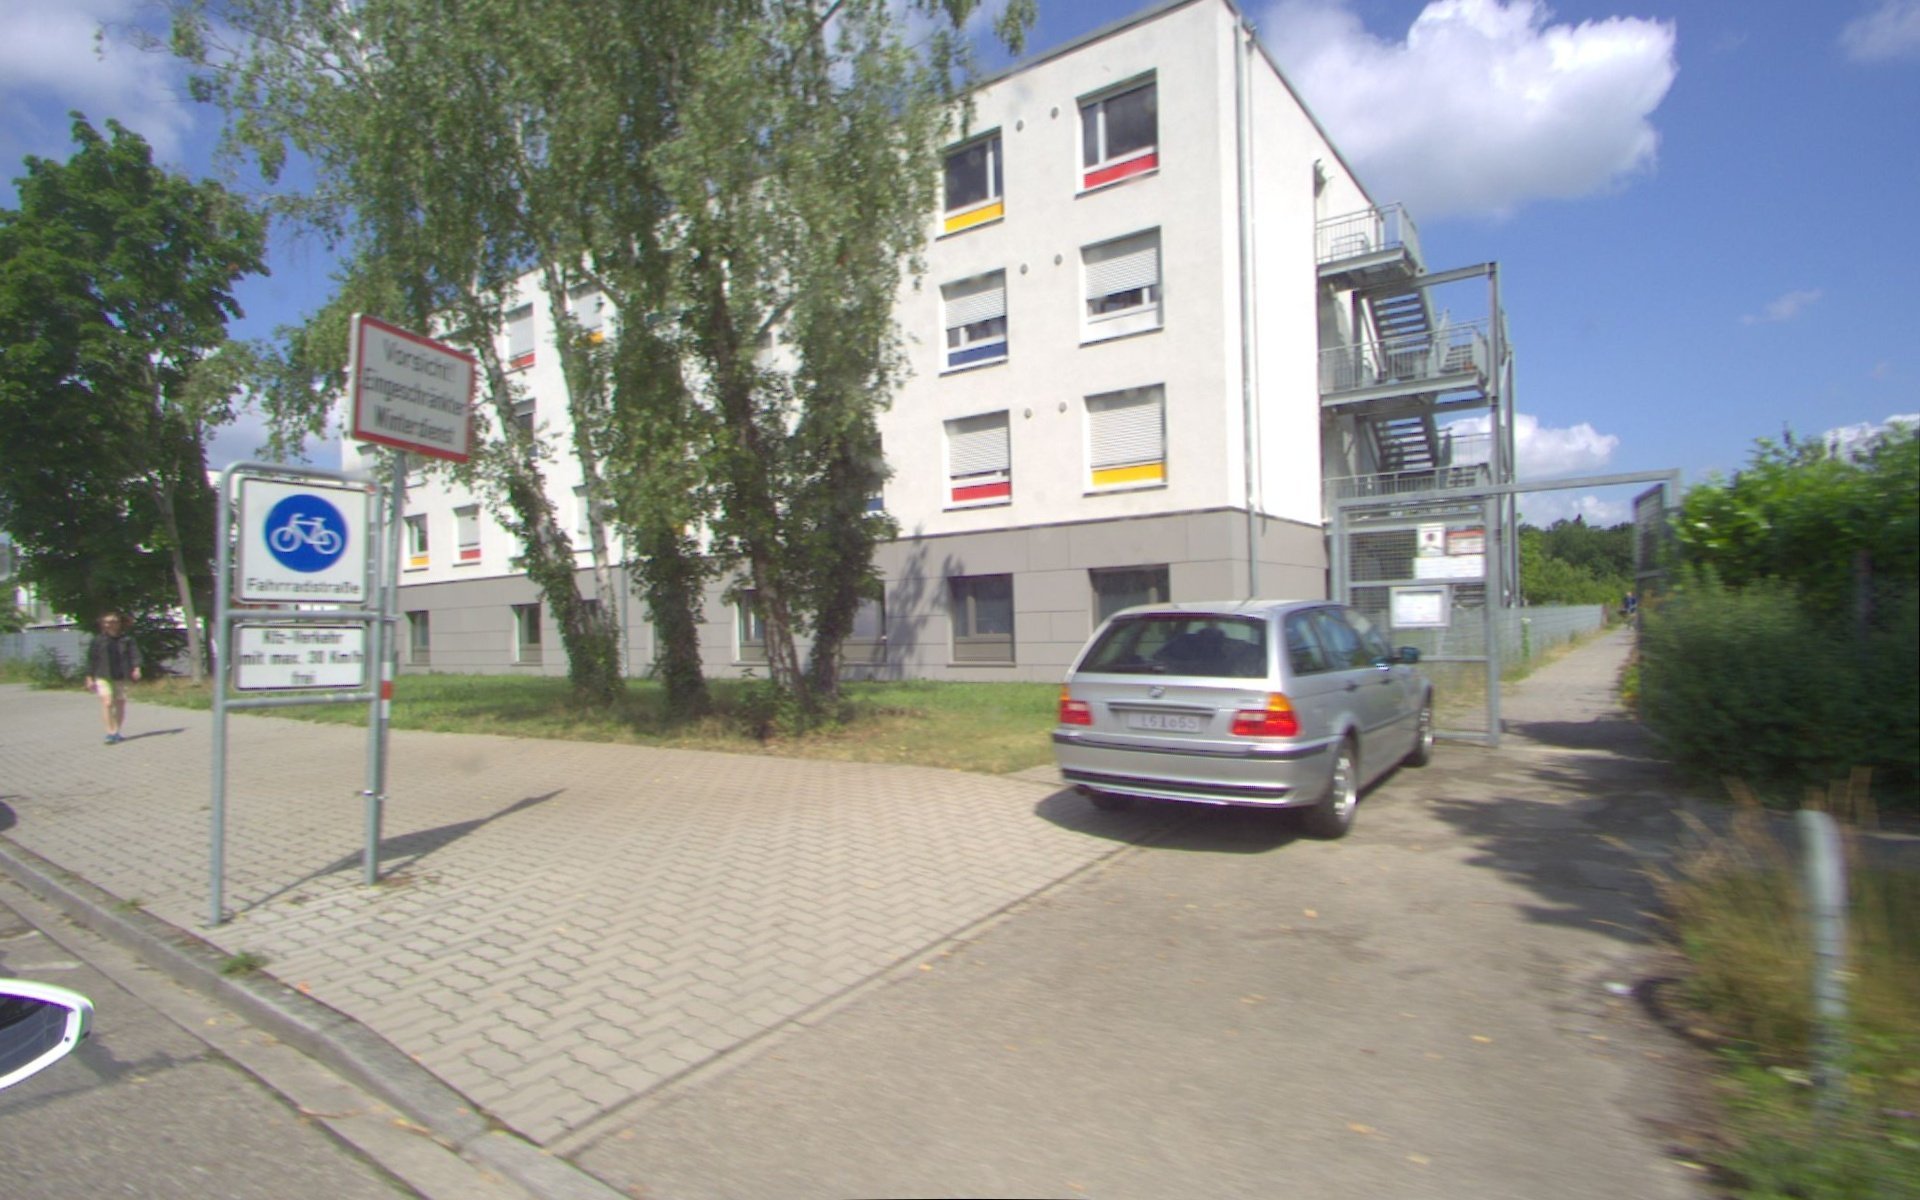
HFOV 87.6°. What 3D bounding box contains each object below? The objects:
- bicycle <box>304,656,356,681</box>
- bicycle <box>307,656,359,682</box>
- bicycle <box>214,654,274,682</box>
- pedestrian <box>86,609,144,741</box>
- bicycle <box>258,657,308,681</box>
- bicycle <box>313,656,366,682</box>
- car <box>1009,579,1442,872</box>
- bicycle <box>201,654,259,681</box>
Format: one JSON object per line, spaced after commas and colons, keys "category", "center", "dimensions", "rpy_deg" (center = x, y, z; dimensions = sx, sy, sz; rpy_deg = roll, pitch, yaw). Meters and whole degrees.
{"category": "bicycle", "center": [-31.523, 3.409, 50.132], "dimensions": [0.680, 1.094, 2.038], "rpy_deg": [-2, 0, 38]}
{"category": "bicycle", "center": [-31.019, 3.409, 49.535], "dimensions": [0.680, 1.094, 2.038], "rpy_deg": [-2, 0, 38]}
{"category": "bicycle", "center": [-32.583, 3.075, 45.598], "dimensions": [0.617, 1.134, 2.078], "rpy_deg": [-2, 1, 40]}
{"category": "pedestrian", "center": [-11.717, 1.023, 13.889], "dimensions": [0.605, 1.767, 0.716], "rpy_deg": [0, -2, -41]}
{"category": "bicycle", "center": [-35.564, 3.597, 52.654], "dimensions": [0.680, 1.094, 2.038], "rpy_deg": [-2, 0, 38]}
{"category": "bicycle", "center": [-30.296, 3.362, 48.917], "dimensions": [0.680, 1.094, 2.038], "rpy_deg": [-2, 0, 38]}
{"category": "car", "center": [2.234, 0.647, 7.402], "dimensions": [1.736, 1.449, 4.227], "rpy_deg": [-3, 0, 35]}
{"category": "bicycle", "center": [-33.955, 3.122, 46.593], "dimensions": [0.680, 1.094, 2.038], "rpy_deg": [-2, 0, 38]}
